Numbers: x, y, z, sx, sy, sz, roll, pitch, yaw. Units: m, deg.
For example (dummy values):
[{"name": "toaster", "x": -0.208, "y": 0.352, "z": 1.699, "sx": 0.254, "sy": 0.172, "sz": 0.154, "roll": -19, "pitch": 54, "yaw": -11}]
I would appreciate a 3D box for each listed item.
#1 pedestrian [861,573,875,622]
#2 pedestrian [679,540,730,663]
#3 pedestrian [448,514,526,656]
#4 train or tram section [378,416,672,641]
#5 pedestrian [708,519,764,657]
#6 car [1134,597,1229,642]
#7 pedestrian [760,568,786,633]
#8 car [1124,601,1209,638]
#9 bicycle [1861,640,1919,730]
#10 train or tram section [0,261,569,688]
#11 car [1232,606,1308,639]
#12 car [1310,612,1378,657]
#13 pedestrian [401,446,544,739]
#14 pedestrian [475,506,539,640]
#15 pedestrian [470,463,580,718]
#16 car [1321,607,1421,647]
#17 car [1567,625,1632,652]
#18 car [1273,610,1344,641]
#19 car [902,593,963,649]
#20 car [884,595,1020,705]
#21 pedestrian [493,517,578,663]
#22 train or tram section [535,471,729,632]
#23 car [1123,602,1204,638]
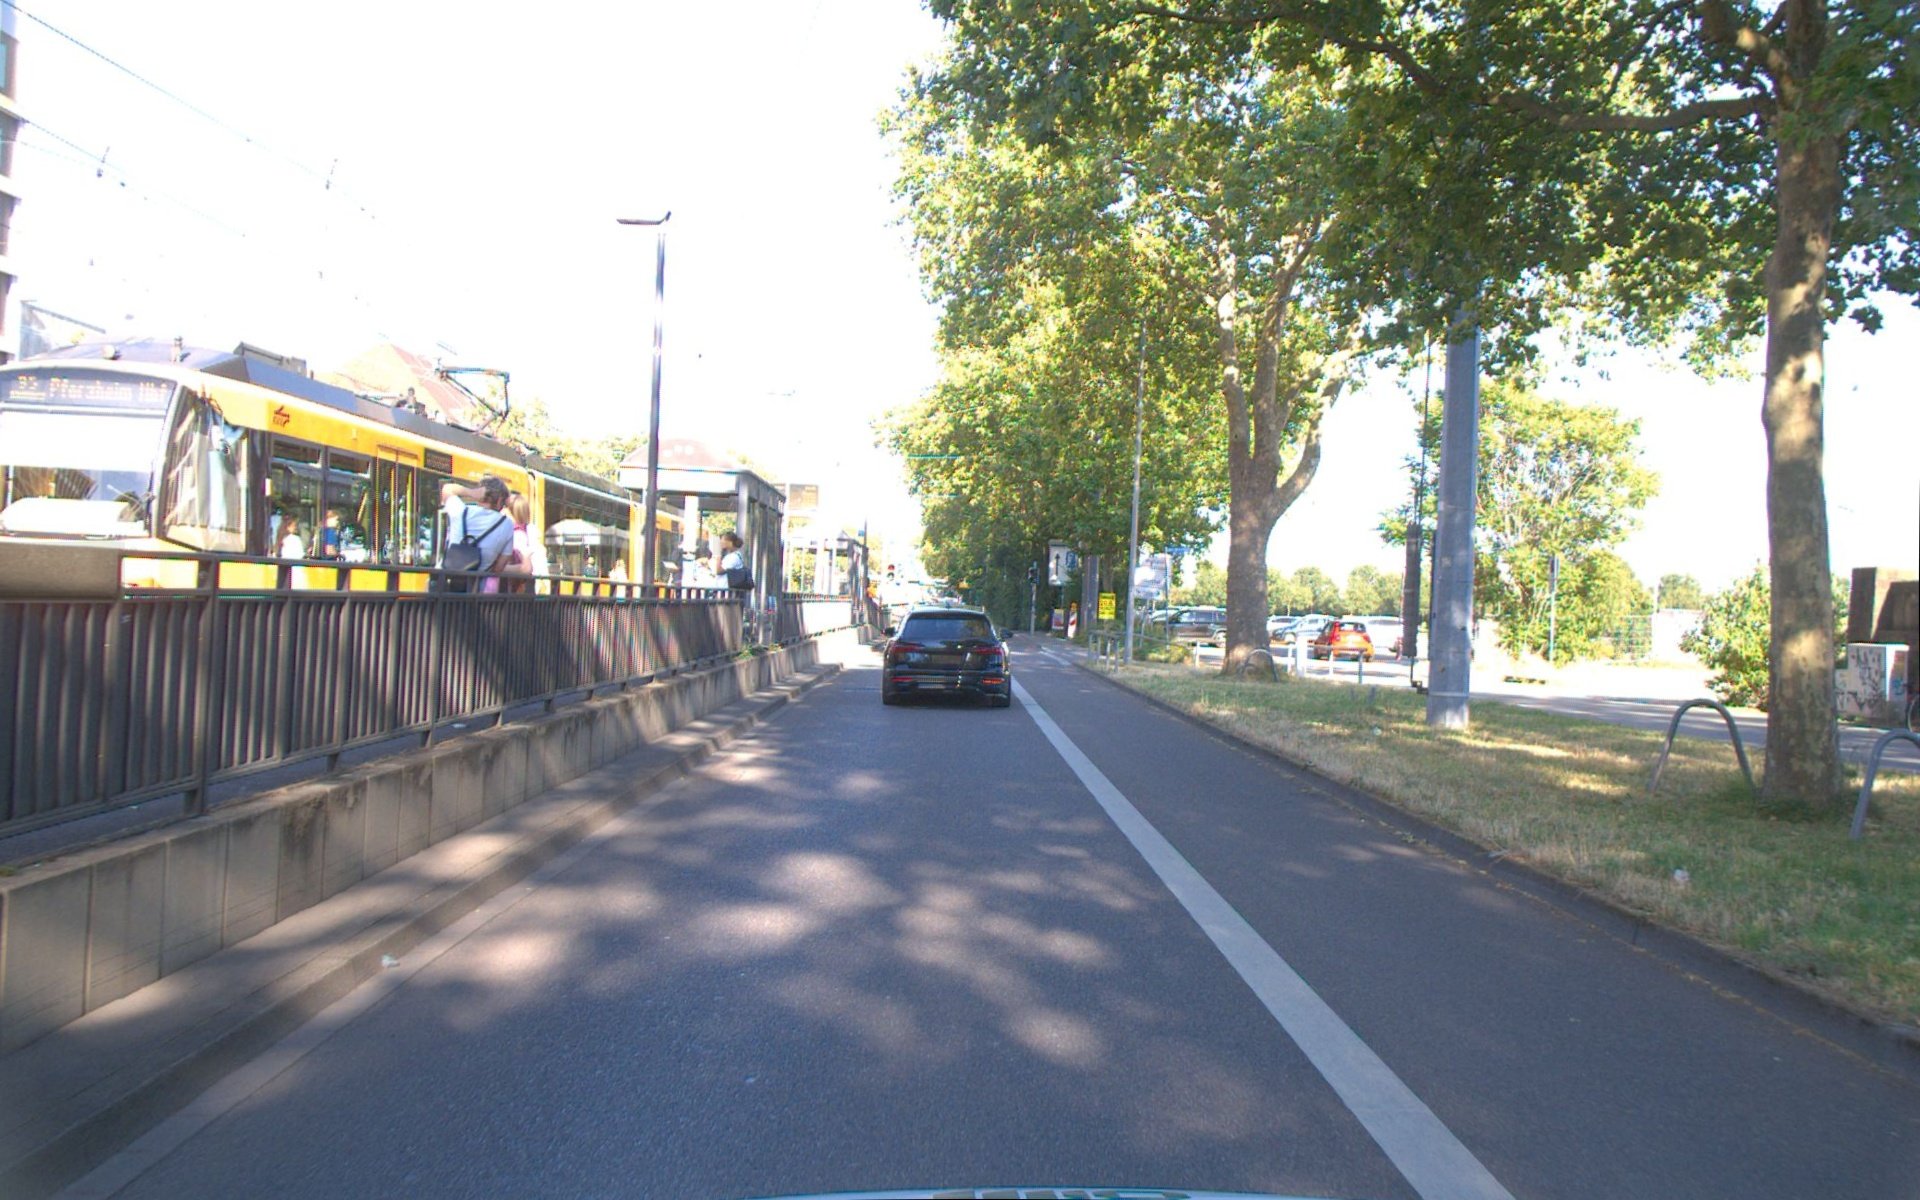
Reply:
[{"name": "pedestrian", "x": -3.304, "y": -0.099, "z": 59.651, "sx": 0.403, "sy": 1.746, "sz": 0.665, "roll": 3, "pitch": 0, "yaw": -1}, {"name": "pedestrian", "x": -3.885, "y": 0.025, "z": 25.171, "sx": 0.597, "sy": 1.815, "sz": 0.681, "roll": 3, "pitch": 0, "yaw": -1}, {"name": "pedestrian", "x": -6.251, "y": -0.194, "z": 21.879, "sx": 0.777, "sy": 1.815, "sz": 0.625, "roll": 3, "pitch": 0, "yaw": -1}, {"name": "train or tram section", "x": -8.862, "y": -1.289, "z": 35.706, "sx": 3.242, "sy": 3.896, "sz": 11.841, "roll": 3, "pitch": 0, "yaw": -1}, {"name": "pedestrian", "x": -3.026, "y": -0.158, "z": 22.386, "sx": 0.599, "sy": 1.815, "sz": 0.613, "roll": 3, "pitch": 0, "yaw": -1}, {"name": "car", "x": 9.840, "y": 0.849, "z": 73.669, "sx": 3.906, "sy": 1.795, "sz": 1.833, "roll": 3, "pitch": 0, "yaw": 0}, {"name": "pedestrian", "x": -5.182, "y": 0.009, "z": 45.793, "sx": 0.599, "sy": 1.743, "sz": 0.659, "roll": 3, "pitch": 0, "yaw": -3}, {"name": "car", "x": 9.814, "y": 0.917, "z": 78.784, "sx": 3.806, "sy": 1.531, "sz": 1.888, "roll": 3, "pitch": 0, "yaw": 0}, {"name": "bicycle", "x": 12.822, "y": 1.126, "z": 21.787, "sx": 1.740, "sy": 1.140, "sz": 0.438, "roll": 1, "pitch": 0, "yaw": -8}, {"name": "train or tram section", "x": -8.628, "y": -1.206, "z": 22.591, "sx": 3.242, "sy": 3.896, "sz": 14.216, "roll": 3, "pitch": 0, "yaw": -1}, {"name": "car", "x": 19.603, "y": 1.431, "z": 104.734, "sx": 4.267, "sy": 1.847, "sz": 1.998, "roll": 3, "pitch": 0, "yaw": -5}, {"name": "car", "x": 14.483, "y": 1.266, "z": 62.567, "sx": 1.581, "sy": 1.542, "sz": 3.802, "roll": 3, "pitch": 0, "yaw": -1}, {"name": "pedestrian", "x": -2.948, "y": -0.042, "z": 10.048, "sx": 0.599, "sy": 1.697, "sz": 0.613, "roll": 3, "pitch": 0, "yaw": 1}, {"name": "pedestrian", "x": -6.338, "y": -0.368, "z": 23.175, "sx": 0.599, "sy": 1.815, "sz": 0.775, "roll": 3, "pitch": 0, "yaw": -1}, {"name": "pedestrian", "x": -2.968, "y": -0.060, "z": 11.268, "sx": 0.602, "sy": 1.671, "sz": 0.610, "roll": 3, "pitch": 0, "yaw": -20}, {"name": "car", "x": 19.822, "y": 1.292, "z": 79.925, "sx": 4.365, "sy": 1.687, "sz": 1.918, "roll": 3, "pitch": 0, "yaw": 3}, {"name": "car", "x": 43.362, "y": 2.613, "z": 112.142, "sx": 3.738, "sy": 1.629, "sz": 1.649, "roll": 3, "pitch": 0, "yaw": -4}, {"name": "car", "x": 20.325, "y": 1.467, "z": 96.611, "sx": 3.735, "sy": 1.637, "sz": 1.670, "roll": 3, "pitch": 0, "yaw": -1}, {"name": "car", "x": -0.920, "y": 0.637, "z": 52.403, "sx": 1.727, "sy": 1.647, "sz": 3.998, "roll": 3, "pitch": 0, "yaw": -3}, {"name": "car", "x": -0.182, "y": 0.687, "z": 24.452, "sx": 1.841, "sy": 1.482, "sz": 3.354, "roll": 1, "pitch": 0, "yaw": -3}, {"name": "pedestrian", "x": -5.440, "y": -0.124, "z": 21.214, "sx": 0.788, "sy": 1.815, "sz": 0.639, "roll": 3, "pitch": 0, "yaw": -41}, {"name": "train or tram section", "x": -9.075, "y": -1.220, "z": 47.587, "sx": 3.242, "sy": 3.896, "sz": 11.841, "roll": 3, "pitch": 0, "yaw": -1}, {"name": "car", "x": 9.410, "y": 0.912, "z": 76.557, "sx": 3.521, "sy": 1.488, "sz": 1.678, "roll": 3, "pitch": 0, "yaw": 0}]
